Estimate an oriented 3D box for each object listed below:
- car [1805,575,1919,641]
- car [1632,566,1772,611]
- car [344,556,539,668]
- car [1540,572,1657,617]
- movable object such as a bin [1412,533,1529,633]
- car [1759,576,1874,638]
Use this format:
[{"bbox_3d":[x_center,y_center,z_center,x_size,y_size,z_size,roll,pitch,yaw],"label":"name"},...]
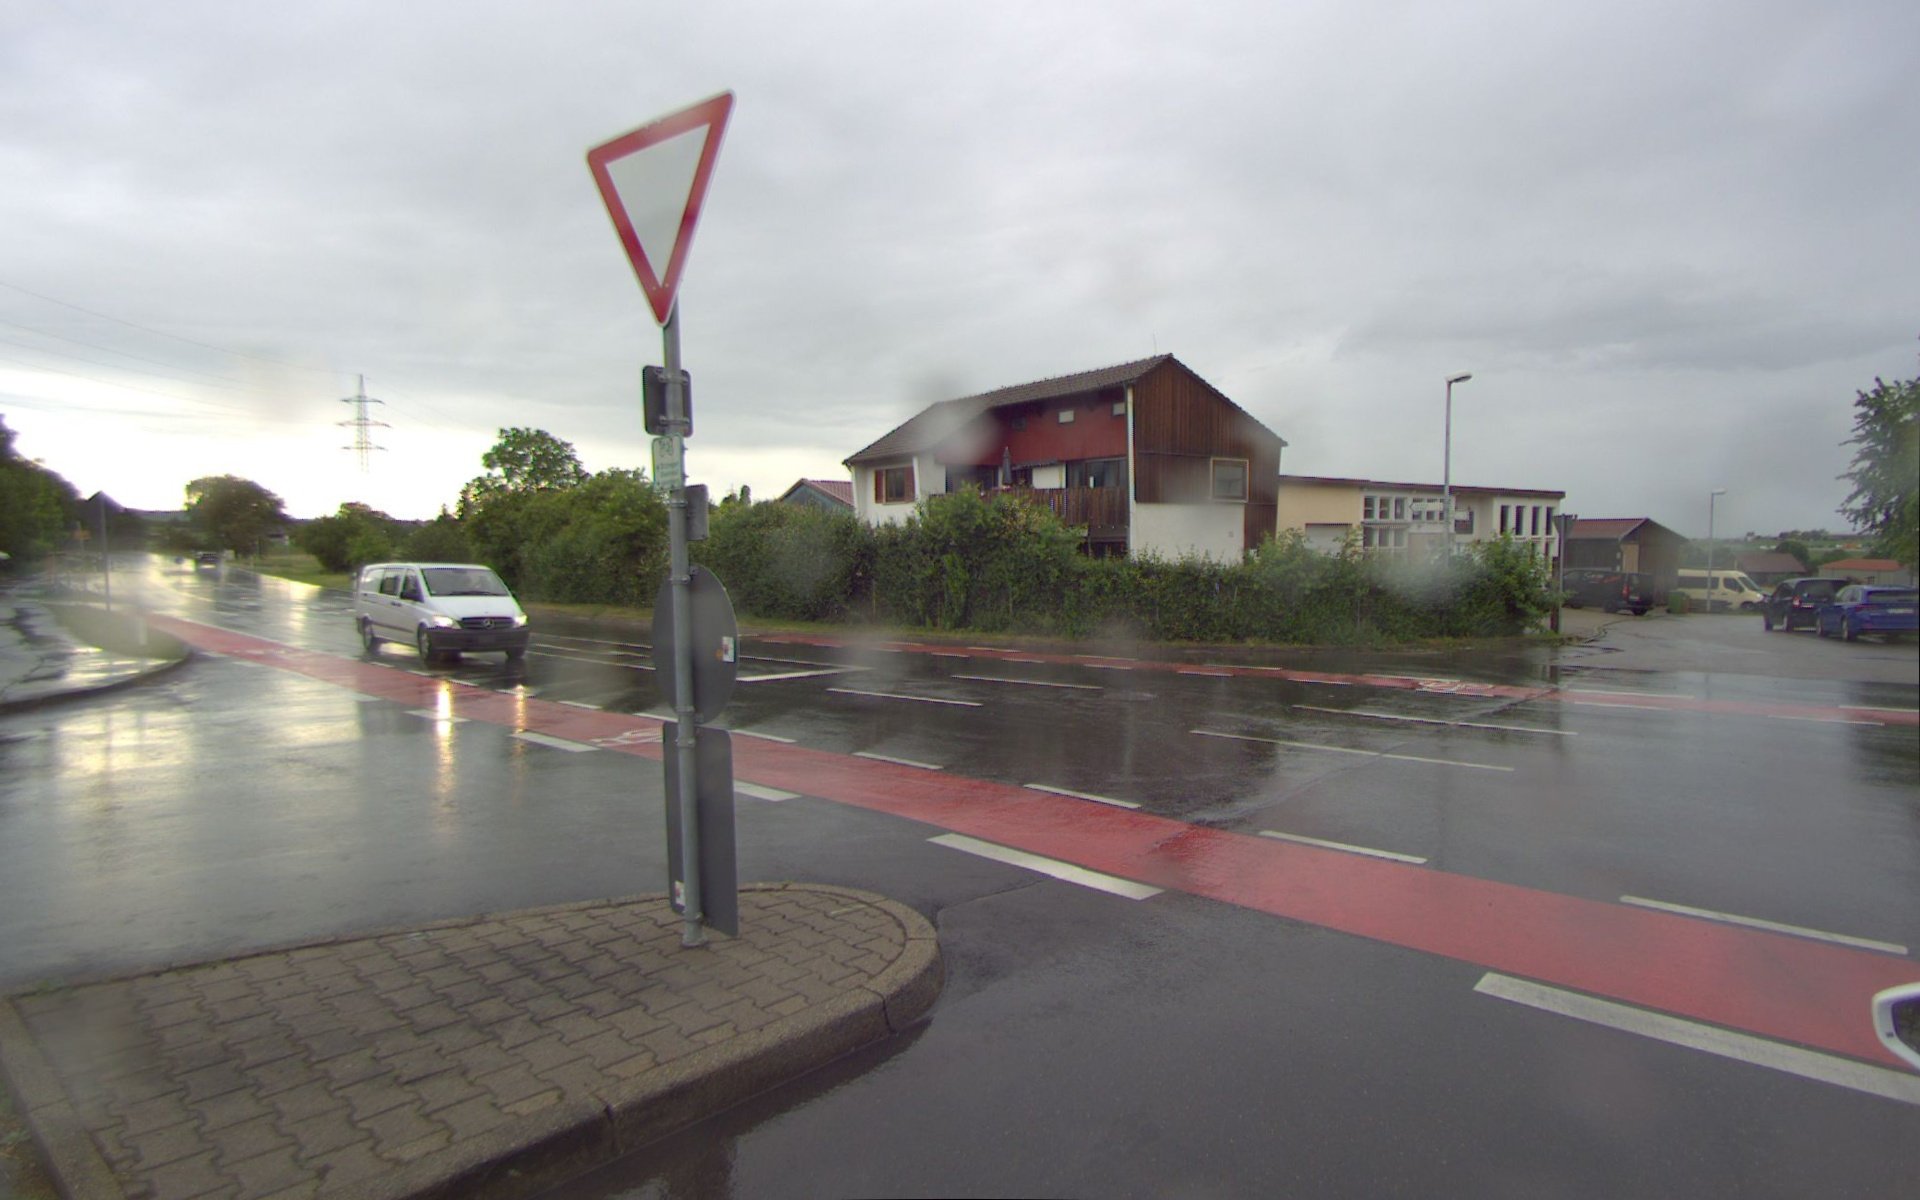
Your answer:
[{"bbox_3d":[24.558,0.183,27.058,1.923,1.631,4.438,1,1,29],"label":"car"},{"bbox_3d":[42.441,-0.657,57.602,2.438,2.447,5.971,0,1,-34],"label":"car"},{"bbox_3d":[-10.858,0.167,20.846,5.296,2.045,1.894,1,2,43],"label":"car"},{"bbox_3d":[28.965,-0.260,45.732,1.965,1.930,4.399,0,1,-12],"label":"car"},{"bbox_3d":[14.126,-0.448,27.740,3.313,2.591,1.718,0,1,-41],"label":"movable object such as a bin"},{"bbox_3d":[27.538,0.195,32.457,2.044,1.859,4.461,1,1,31],"label":"car"}]
